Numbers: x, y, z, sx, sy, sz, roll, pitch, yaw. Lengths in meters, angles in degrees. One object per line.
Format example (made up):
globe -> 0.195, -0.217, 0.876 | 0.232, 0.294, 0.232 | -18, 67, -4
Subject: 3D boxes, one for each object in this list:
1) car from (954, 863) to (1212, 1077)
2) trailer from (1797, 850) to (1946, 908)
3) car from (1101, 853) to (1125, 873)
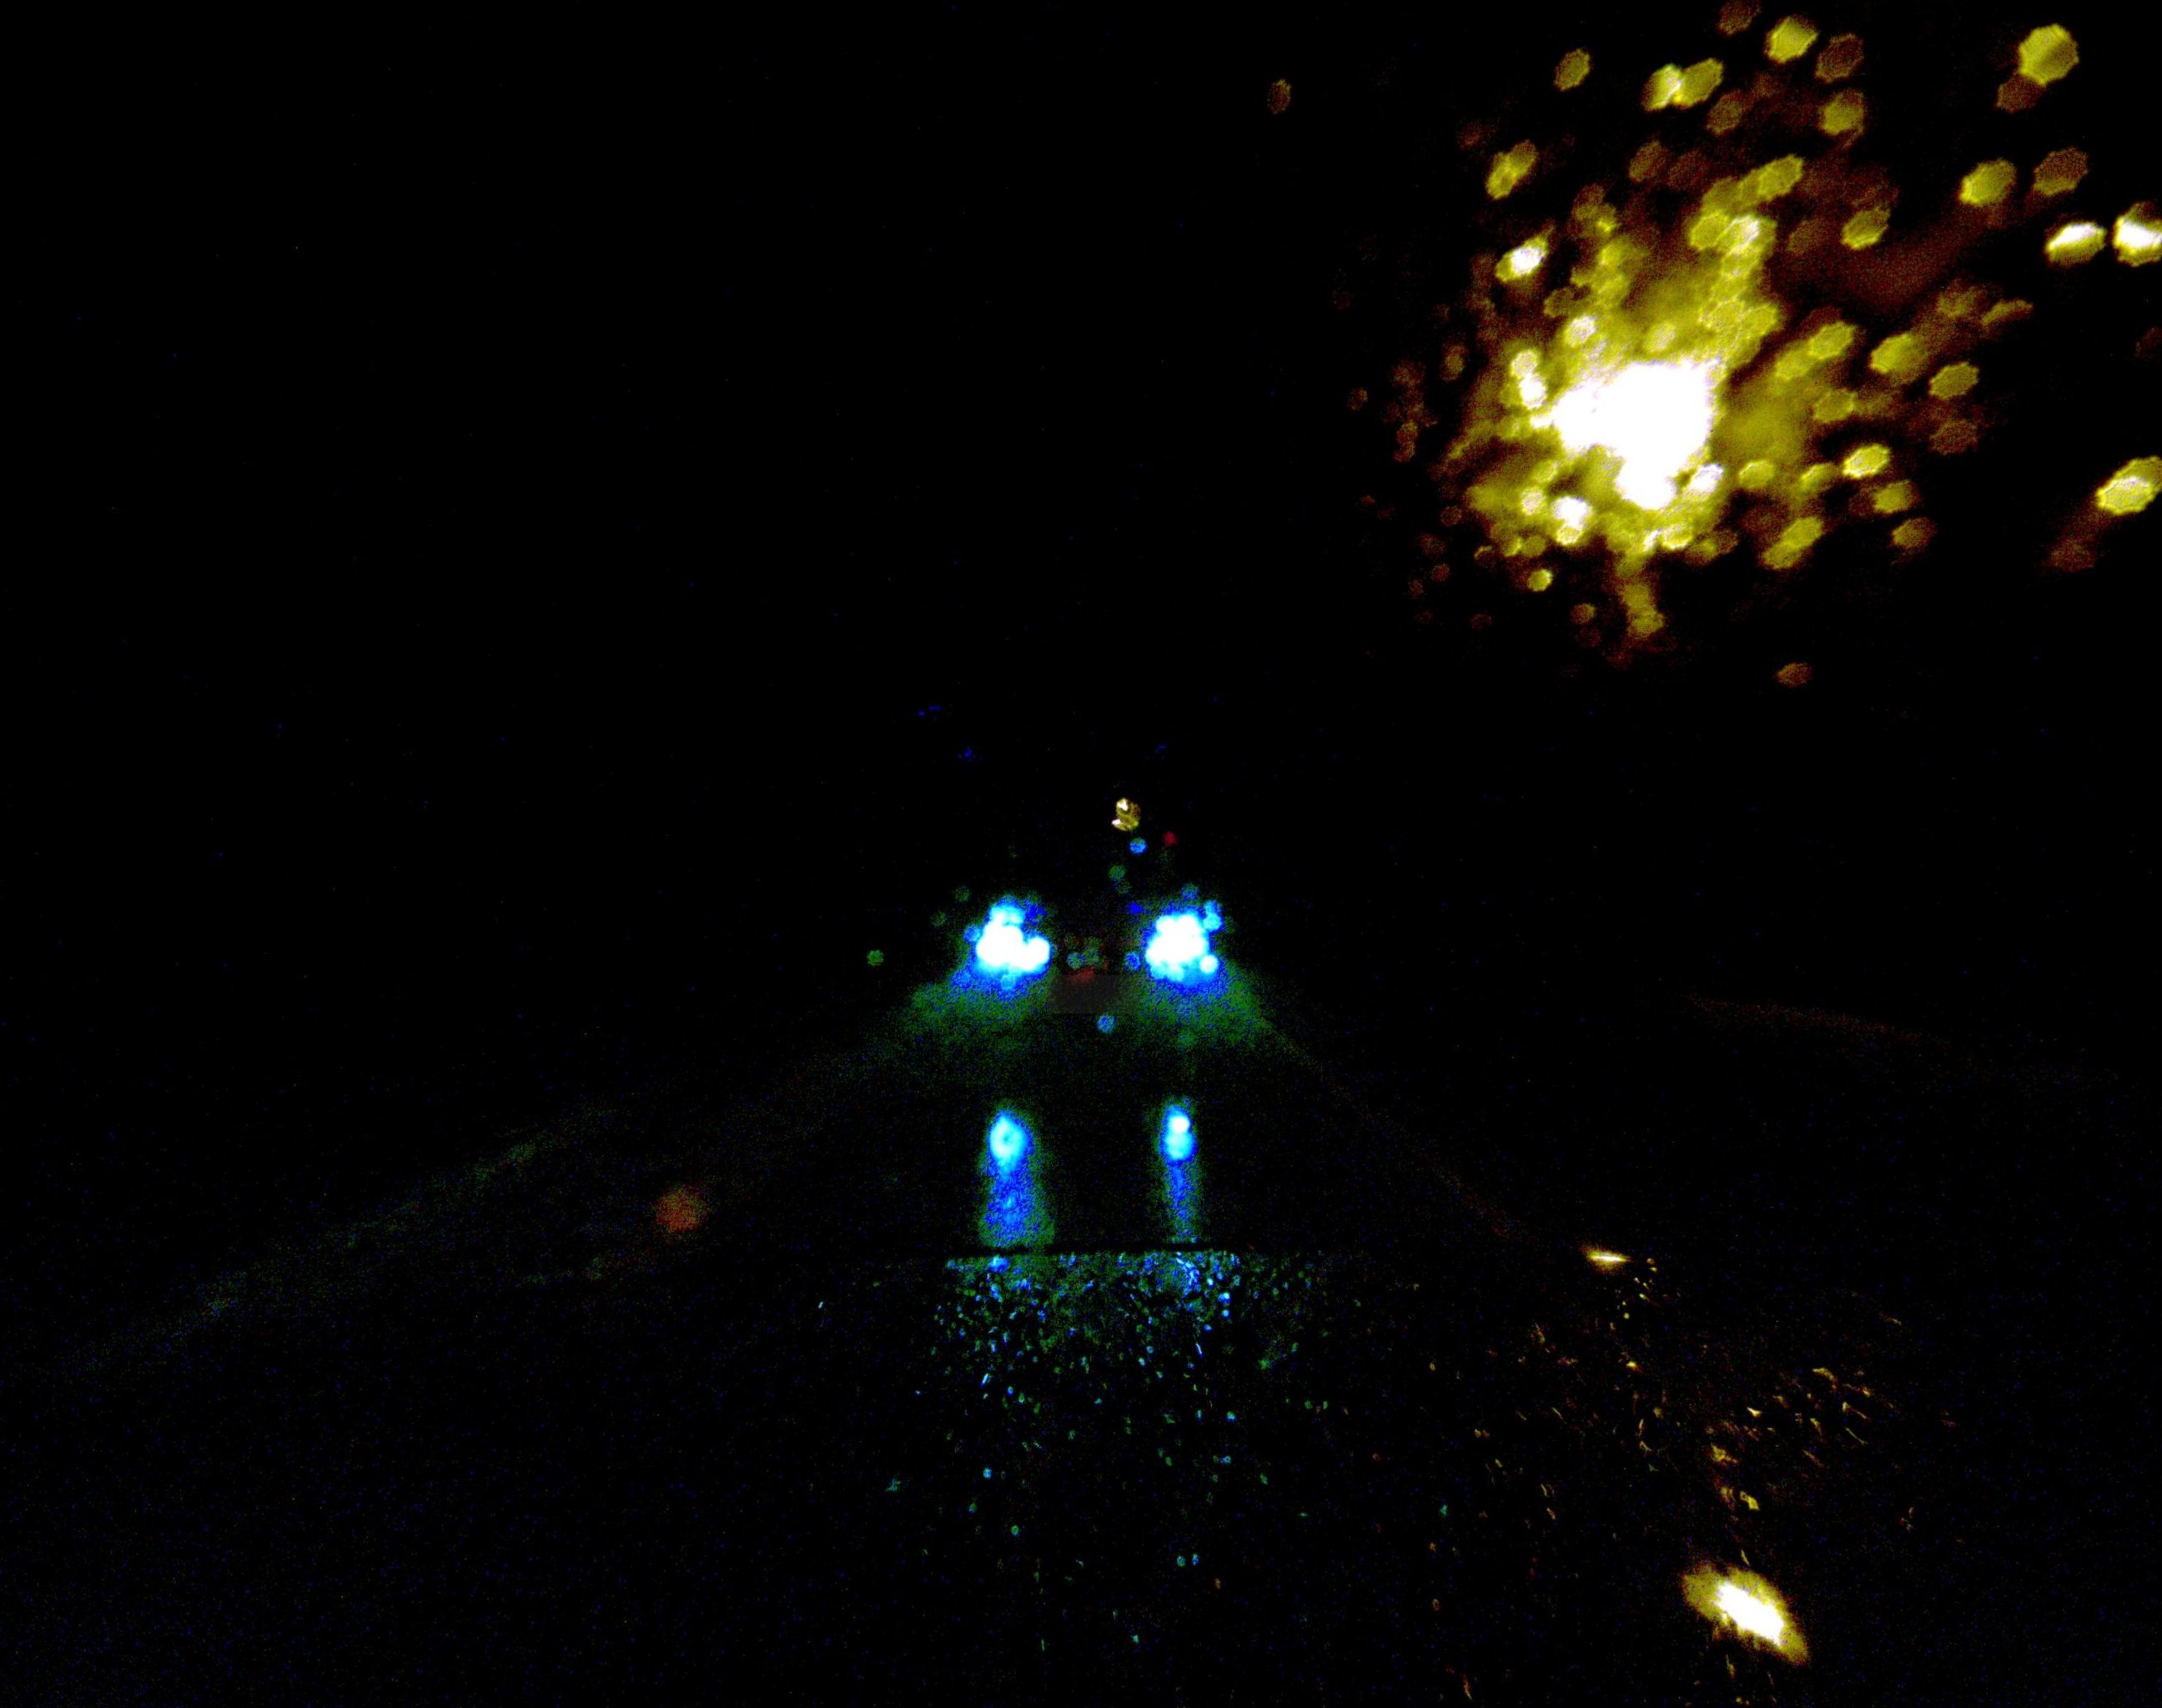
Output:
car -> 0.061, 0.915, 8.183 | 1.944, 1.580, 4.776 | -1, 0, 1
trailer -> 33.492, 1.006, 32.324 | 3.801, 2.206, 1.976 | 3, 3, 18
car -> 2.622, 0.784, 63.551 | 1.878, 1.535, 4.357 | 1, -1, 1
